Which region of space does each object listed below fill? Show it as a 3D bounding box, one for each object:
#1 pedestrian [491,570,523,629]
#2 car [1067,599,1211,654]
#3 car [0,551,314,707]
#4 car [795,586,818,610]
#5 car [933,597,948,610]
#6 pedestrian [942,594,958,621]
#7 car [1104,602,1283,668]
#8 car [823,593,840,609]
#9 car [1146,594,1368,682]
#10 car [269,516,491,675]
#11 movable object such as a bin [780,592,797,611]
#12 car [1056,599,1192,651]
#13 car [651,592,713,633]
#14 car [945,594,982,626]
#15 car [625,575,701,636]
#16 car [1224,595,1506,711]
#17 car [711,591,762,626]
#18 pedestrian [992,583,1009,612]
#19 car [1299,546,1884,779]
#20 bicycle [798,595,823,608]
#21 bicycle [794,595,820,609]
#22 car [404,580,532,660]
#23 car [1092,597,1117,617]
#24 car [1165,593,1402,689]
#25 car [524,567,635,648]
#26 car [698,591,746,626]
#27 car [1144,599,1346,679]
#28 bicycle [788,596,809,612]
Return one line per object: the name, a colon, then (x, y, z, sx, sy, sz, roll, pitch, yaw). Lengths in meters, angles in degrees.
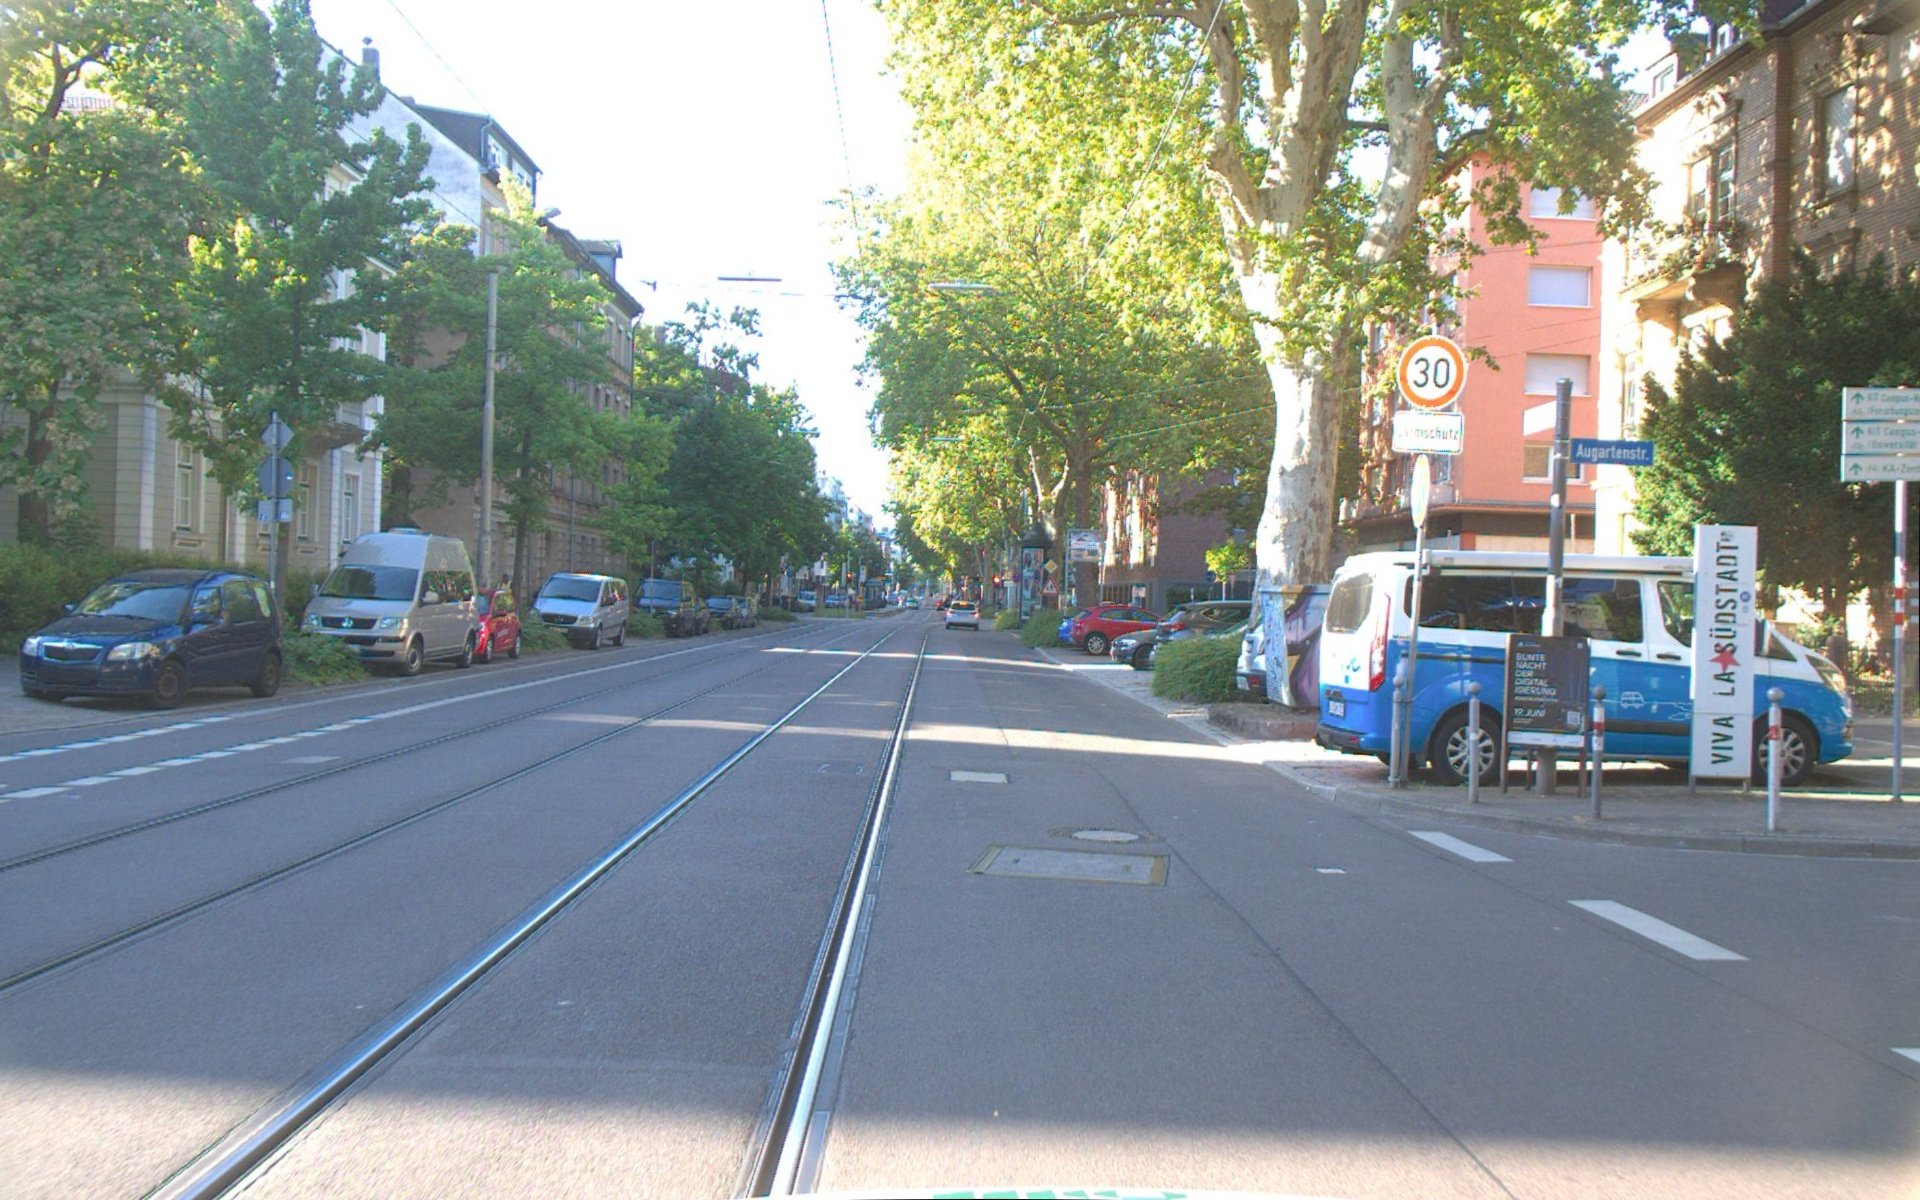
pedestrian: (-13.296, -0.004, 48.524, 0.592, 1.691, 0.947, 3, 0, 0)
car: (5.557, 0.808, 51.690, 4.312, 1.570, 1.952, 1, 0, 1)
car: (-10.029, 0.324, 20.854, 1.951, 1.719, 4.262, 1, 0, 1)
car: (-13.469, -0.181, 145.048, 1.654, 1.974, 3.999, 1, 0, -1)
car: (-2.377, 0.425, 203.895, 1.752, 1.540, 3.999, 1, 0, -1)
pedestrian: (-0.702, 0.491, 111.939, 0.975, 1.843, 0.863, 1, 0, -6)
car: (5.712, 0.843, 40.808, 4.115, 1.473, 1.817, 1, 0, -1)
car: (-13.749, 0.130, 177.086, 1.561, 1.575, 3.999, 4, 0, -1)
car: (6.002, 0.752, 33.703, 4.117, 1.647, 1.877, 1, 0, -4)
car: (-10.271, -0.085, 29.790, 2.258, 2.552, 5.341, 1, 0, -3)
movable object such as a bin: (-13.648, 0.130, 131.646, 1.147, 1.371, 0.782, 5, 0, -5)
car: (5.341, 0.805, 53.970, 4.310, 1.570, 1.819, 1, 0, 6)
car: (-10.753, 0.468, 64.259, 1.816, 1.484, 4.268, 1, 0, -2)
car: (0.159, 0.490, 85.223, 1.752, 1.540, 3.999, 1, 0, -1)
car: (-10.566, 0.183, 59.094, 1.953, 2.049, 4.832, 1, 0, -2)
car: (5.922, 0.749, 24.454, 3.706, 1.647, 1.789, 0, 0, -3)
car: (-10.781, 0.408, 80.034, 1.664, 1.577, 4.537, 2, 0, 2)
pedestrian: (2.678, -0.176, 109.846, 0.963, 1.896, 1.015, -2, 0, -6)
car: (5.864, 0.536, 15.780, 4.750, 2.049, 2.192, 0, 0, -4)
bicycle: (-13.980, 0.149, 154.383, 2.207, 1.092, 0.636, 5, 0, 0)
bicycle: (-14.124, 0.159, 152.511, 2.207, 1.092, 0.636, 5, 0, 0)
car: (-10.331, 0.388, 34.996, 1.651, 1.566, 3.706, 1, 0, -1)
car: (11.652, 0.564, 133.567, 1.568, 1.521, 3.415, 1, 0, -2)
car: (6.010, 0.749, 31.087, 4.113, 1.647, 1.818, 1, 0, 1)
car: (-10.213, 0.179, 44.711, 1.806, 2.023, 4.988, 1, 0, 0)
car: (-10.698, 0.359, 74.597, 1.625, 1.470, 3.948, 2, 0, -1)
car: (6.166, 0.821, 36.105, 4.113, 1.601, 1.818, 1, 0, 1)
bicycle: (-13.051, 0.324, 133.729, 1.503, 1.093, 0.885, 5, 0, -2)
